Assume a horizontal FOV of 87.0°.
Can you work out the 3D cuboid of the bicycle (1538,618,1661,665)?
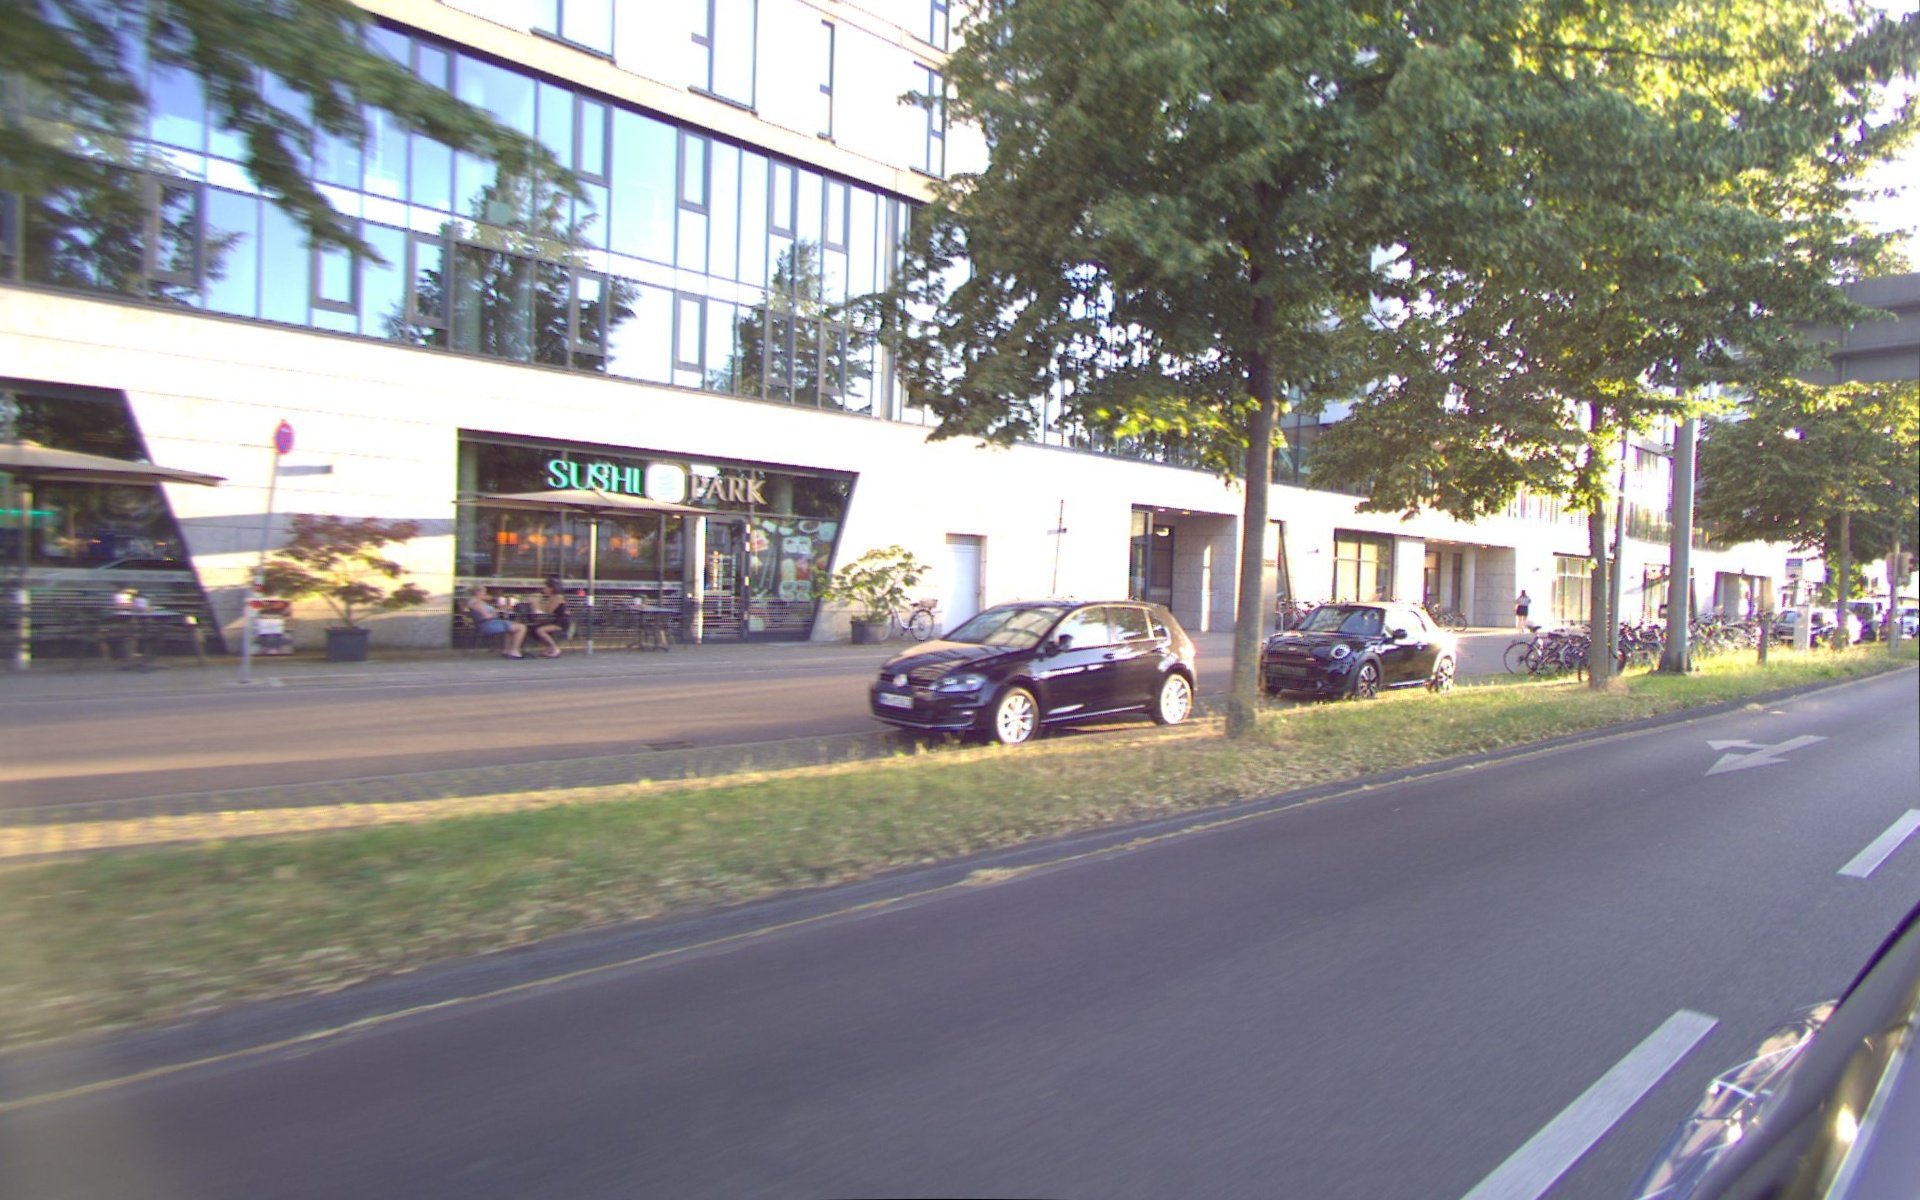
[{"bbox_3d":[13.465,0.881,21.371,2.142,0.952,0.436,-3,-3,44],"label":"bicycle"}]

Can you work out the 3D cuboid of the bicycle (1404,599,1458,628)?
[{"bbox_3d":[17.577,0.480,37.789,0.396,0.999,1.835,1,1,-39],"label":"bicycle"}]

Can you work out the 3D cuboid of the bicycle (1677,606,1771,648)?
[{"bbox_3d":[20.231,0.720,26.837,1.941,1.067,0.408,-3,-3,43],"label":"bicycle"}]

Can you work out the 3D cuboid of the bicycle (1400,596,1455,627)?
[{"bbox_3d":[17.321,0.405,37.506,0.396,1.070,1.835,1,1,-39],"label":"bicycle"}]

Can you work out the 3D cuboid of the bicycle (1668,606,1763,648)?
[{"bbox_3d":[19.697,0.725,26.418,1.941,1.067,0.408,-3,-3,43],"label":"bicycle"}]

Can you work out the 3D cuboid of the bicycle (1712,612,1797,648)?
[{"bbox_3d":[24.238,0.916,30.905,0.535,1.067,1.945,1,-3,-40],"label":"bicycle"}]

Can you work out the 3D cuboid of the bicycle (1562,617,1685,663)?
[{"bbox_3d":[14.288,0.867,21.847,2.142,0.952,0.436,-3,-3,44],"label":"bicycle"}]

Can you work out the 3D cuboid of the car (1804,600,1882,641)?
[{"bbox_3d":[35.715,0.798,40.904,4.585,1.490,1.812,0,1,-42],"label":"car"}]

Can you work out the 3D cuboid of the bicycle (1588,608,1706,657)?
[{"bbox_3d":[15.376,0.740,22.710,2.142,1.067,0.295,-3,-3,44],"label":"bicycle"}]

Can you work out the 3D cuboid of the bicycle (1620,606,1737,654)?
[{"bbox_3d":[16.709,0.704,23.577,2.142,1.067,0.562,-3,-3,44],"label":"bicycle"}]

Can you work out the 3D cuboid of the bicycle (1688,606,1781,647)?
[{"bbox_3d":[20.902,0.724,27.355,1.941,1.067,0.309,-3,-3,43],"label":"bicycle"}]

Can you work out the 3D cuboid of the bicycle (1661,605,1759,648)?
[{"bbox_3d":[19.153,0.697,25.868,1.941,1.067,0.408,-3,-3,43],"label":"bicycle"}]

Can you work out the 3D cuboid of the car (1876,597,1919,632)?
[{"bbox_3d":[49.437,0.743,52.604,4.790,1.663,1.998,1,1,-39],"label":"car"}]

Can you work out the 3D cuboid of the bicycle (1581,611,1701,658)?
[{"bbox_3d":[15.052,0.765,22.423,2.142,0.999,0.436,-3,-3,44],"label":"bicycle"}]

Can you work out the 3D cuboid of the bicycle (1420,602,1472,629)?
[{"bbox_3d":[18.312,0.577,38.186,0.396,0.964,1.748,1,1,-39],"label":"bicycle"}]

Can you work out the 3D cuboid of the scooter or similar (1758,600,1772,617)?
[{"bbox_3d":[57.373,0.618,72.112,1.206,1.226,0.473,1,1,-39],"label":"scooter or similar"}]

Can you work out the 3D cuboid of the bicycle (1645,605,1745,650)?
[{"bbox_3d":[18.209,0.687,25.108,1.941,1.067,0.398,-3,-3,44],"label":"bicycle"}]

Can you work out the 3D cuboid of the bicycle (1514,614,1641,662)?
[{"bbox_3d":[12.644,0.783,20.781,2.142,0.952,0.537,-3,-3,44],"label":"bicycle"}]

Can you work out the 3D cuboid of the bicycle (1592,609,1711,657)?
[{"bbox_3d":[15.685,0.756,23.013,2.142,1.067,0.516,-3,-3,44],"label":"bicycle"}]

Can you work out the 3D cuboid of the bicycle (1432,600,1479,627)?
[{"bbox_3d":[19.218,0.519,39.272,0.396,0.999,1.579,1,1,-39],"label":"bicycle"}]

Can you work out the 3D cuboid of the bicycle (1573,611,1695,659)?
[{"bbox_3d":[14.694,0.769,22.122,2.142,0.986,0.436,-3,-3,44],"label":"bicycle"}]

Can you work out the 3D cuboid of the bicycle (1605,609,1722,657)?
[{"bbox_3d":[16.175,0.765,23.317,2.141,1.067,0.517,-3,-3,43],"label":"bicycle"}]

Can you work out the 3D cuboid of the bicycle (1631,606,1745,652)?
[{"bbox_3d":[17.540,0.706,24.416,2.142,1.067,0.562,-3,-3,44],"label":"bicycle"}]

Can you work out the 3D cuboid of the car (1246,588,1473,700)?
[{"bbox_3d":[6.201,0.601,15.537,3.811,1.490,1.579,1,1,-40],"label":"car"}]

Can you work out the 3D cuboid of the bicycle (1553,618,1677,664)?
[{"bbox_3d":[13.925,0.872,21.566,0.445,0.952,2.143,1,-3,-44],"label":"bicycle"}]

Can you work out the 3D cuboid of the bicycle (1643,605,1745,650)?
[{"bbox_3d":[17.920,0.675,24.751,1.941,1.067,0.398,-3,-3,44],"label":"bicycle"}]

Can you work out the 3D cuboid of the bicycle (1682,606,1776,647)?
[{"bbox_3d":[20.597,0.722,27.134,1.941,1.067,0.342,-3,-3,43],"label":"bicycle"}]

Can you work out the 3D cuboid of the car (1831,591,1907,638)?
[{"bbox_3d":[40.106,0.614,44.622,4.585,1.875,1.997,1,1,-42],"label":"car"}]

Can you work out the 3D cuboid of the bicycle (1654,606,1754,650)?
[{"bbox_3d":[18.622,0.702,25.368,0.397,1.067,1.943,1,-3,-42],"label":"bicycle"}]

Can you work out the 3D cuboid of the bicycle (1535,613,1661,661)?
[{"bbox_3d":[13.169,0.769,20.952,2.142,0.952,0.436,-3,-3,44],"label":"bicycle"}]

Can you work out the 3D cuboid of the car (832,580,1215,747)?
[{"bbox_3d":[0.835,0.586,11.114,4.214,1.491,1.780,0,-1,-42],"label":"car"}]

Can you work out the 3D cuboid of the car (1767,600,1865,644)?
[{"bbox_3d":[31.028,0.750,36.645,4.562,1.429,1.873,1,1,-39],"label":"car"}]

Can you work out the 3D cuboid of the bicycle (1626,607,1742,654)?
[{"bbox_3d":[17.118,0.738,23.969,2.142,1.067,0.553,-3,-3,44],"label":"bicycle"}]
